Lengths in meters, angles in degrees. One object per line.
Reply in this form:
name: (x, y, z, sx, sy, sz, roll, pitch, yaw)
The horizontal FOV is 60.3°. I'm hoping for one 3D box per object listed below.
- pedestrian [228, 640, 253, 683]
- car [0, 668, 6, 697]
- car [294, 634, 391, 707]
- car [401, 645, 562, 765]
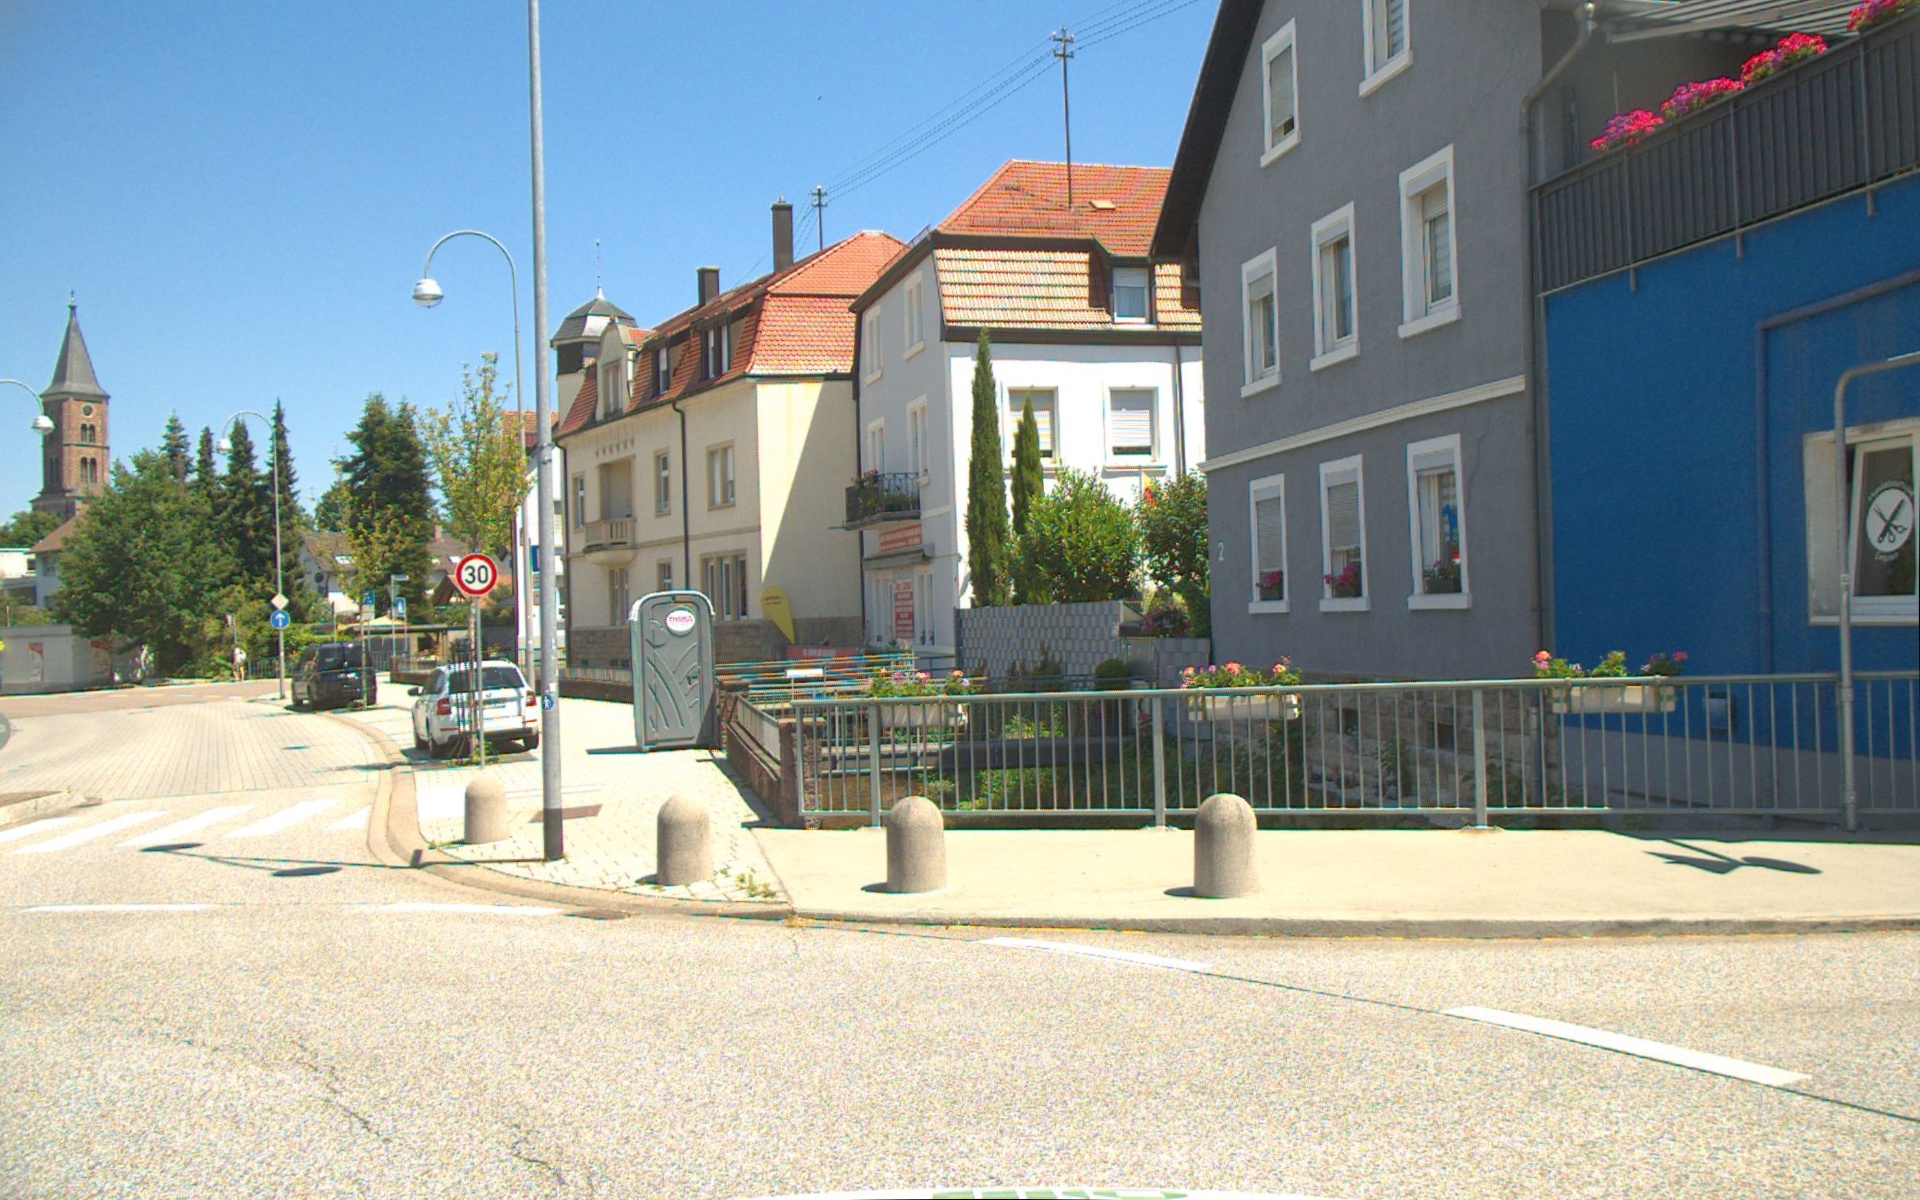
pedestrian: (-31.359, 2.665, 72.057, 0.537, 1.846, 0.844, 0, 0, 29)
car: (-48.568, 4.125, 82.036, 1.531, 1.402, 3.942, -2, -1, -40)
car: (-18.199, 2.031, 48.629, 1.973, 1.897, 4.243, 0, 1, -30)
car: (-8.127, 1.693, 27.820, 1.968, 1.611, 4.256, -7, 1, -23)
